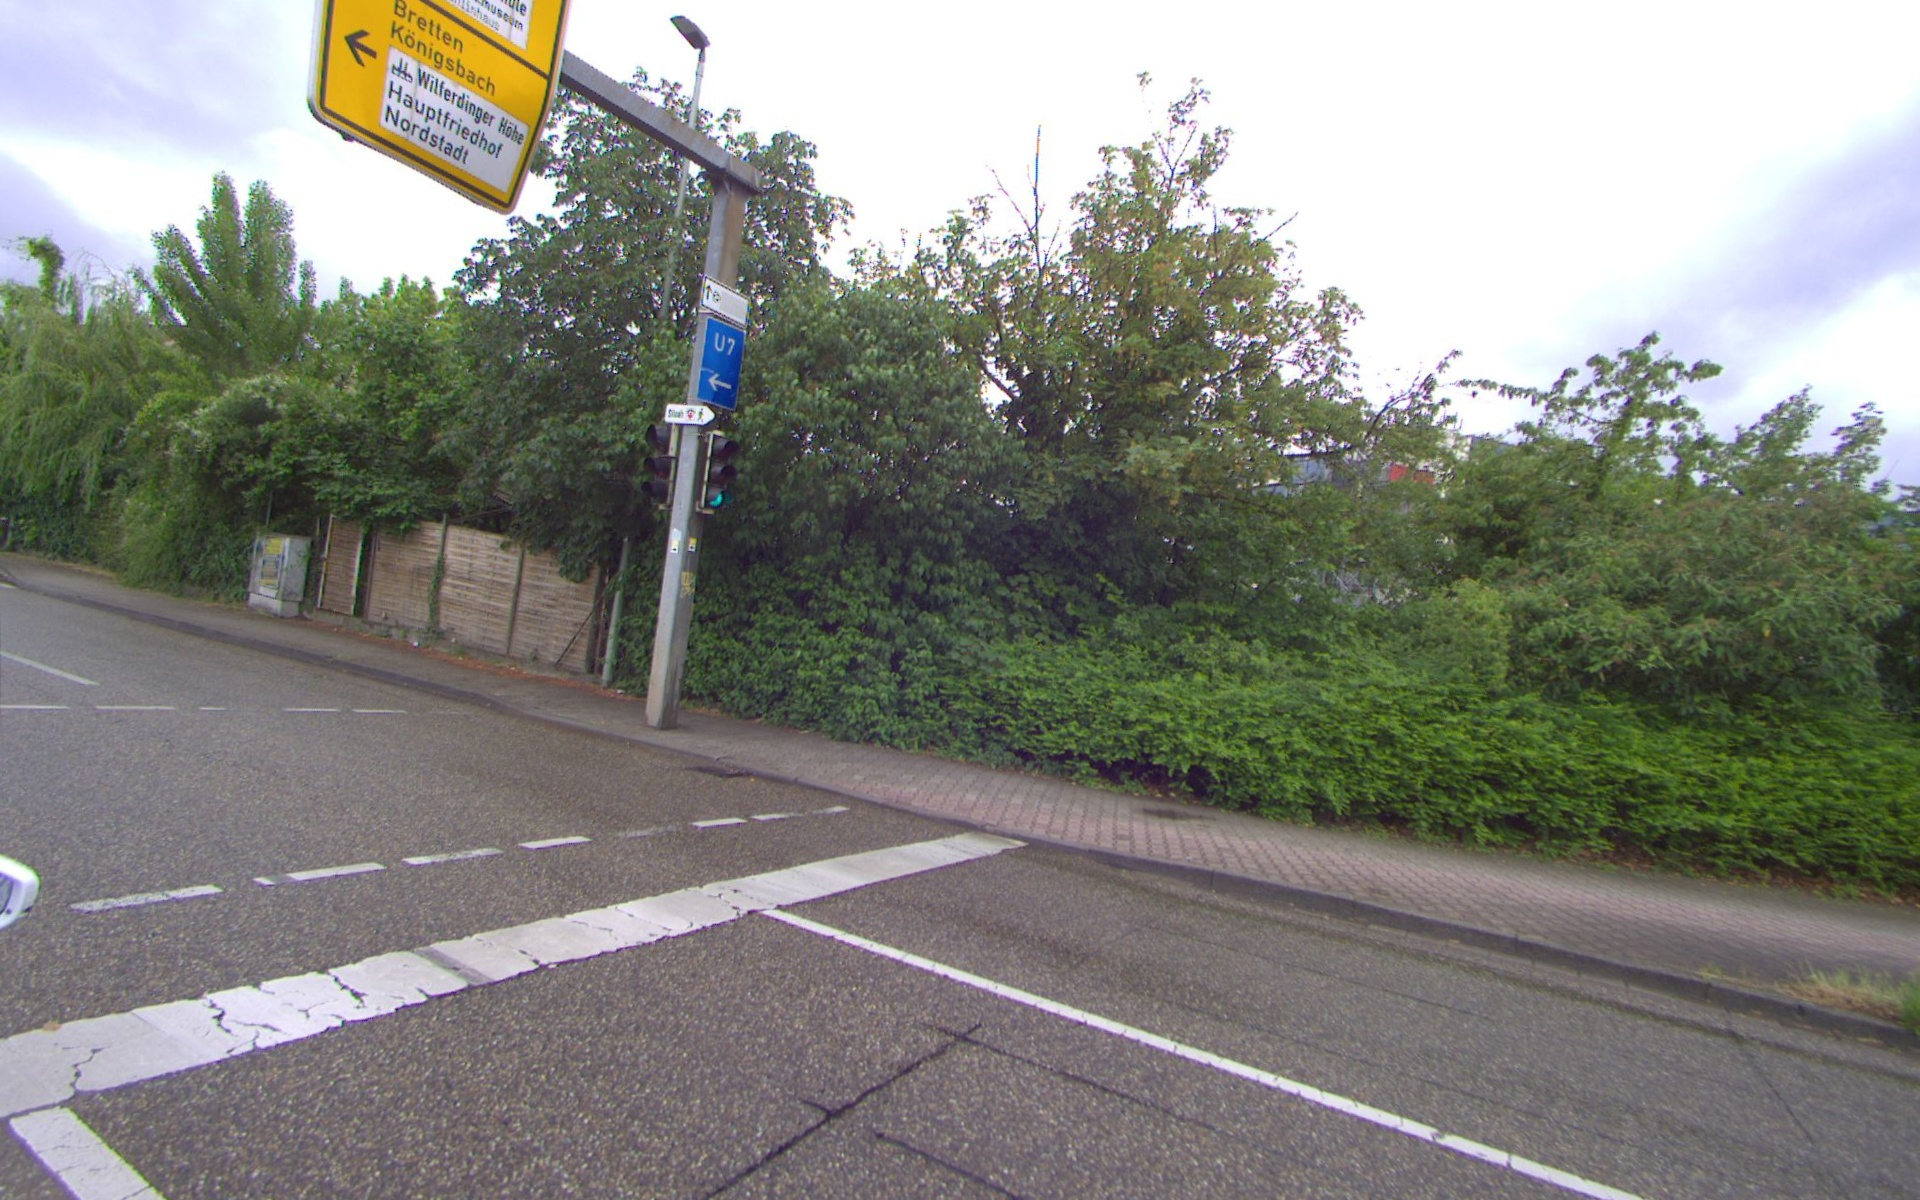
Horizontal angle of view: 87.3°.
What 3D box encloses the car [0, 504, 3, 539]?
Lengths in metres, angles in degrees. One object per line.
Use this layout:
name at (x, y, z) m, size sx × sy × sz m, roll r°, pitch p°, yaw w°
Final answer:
car at (-40.001, -3.313, 39.042) m, size 1.698 × 1.412 × 3.724 m, roll 5°, pitch -1°, yaw 24°
